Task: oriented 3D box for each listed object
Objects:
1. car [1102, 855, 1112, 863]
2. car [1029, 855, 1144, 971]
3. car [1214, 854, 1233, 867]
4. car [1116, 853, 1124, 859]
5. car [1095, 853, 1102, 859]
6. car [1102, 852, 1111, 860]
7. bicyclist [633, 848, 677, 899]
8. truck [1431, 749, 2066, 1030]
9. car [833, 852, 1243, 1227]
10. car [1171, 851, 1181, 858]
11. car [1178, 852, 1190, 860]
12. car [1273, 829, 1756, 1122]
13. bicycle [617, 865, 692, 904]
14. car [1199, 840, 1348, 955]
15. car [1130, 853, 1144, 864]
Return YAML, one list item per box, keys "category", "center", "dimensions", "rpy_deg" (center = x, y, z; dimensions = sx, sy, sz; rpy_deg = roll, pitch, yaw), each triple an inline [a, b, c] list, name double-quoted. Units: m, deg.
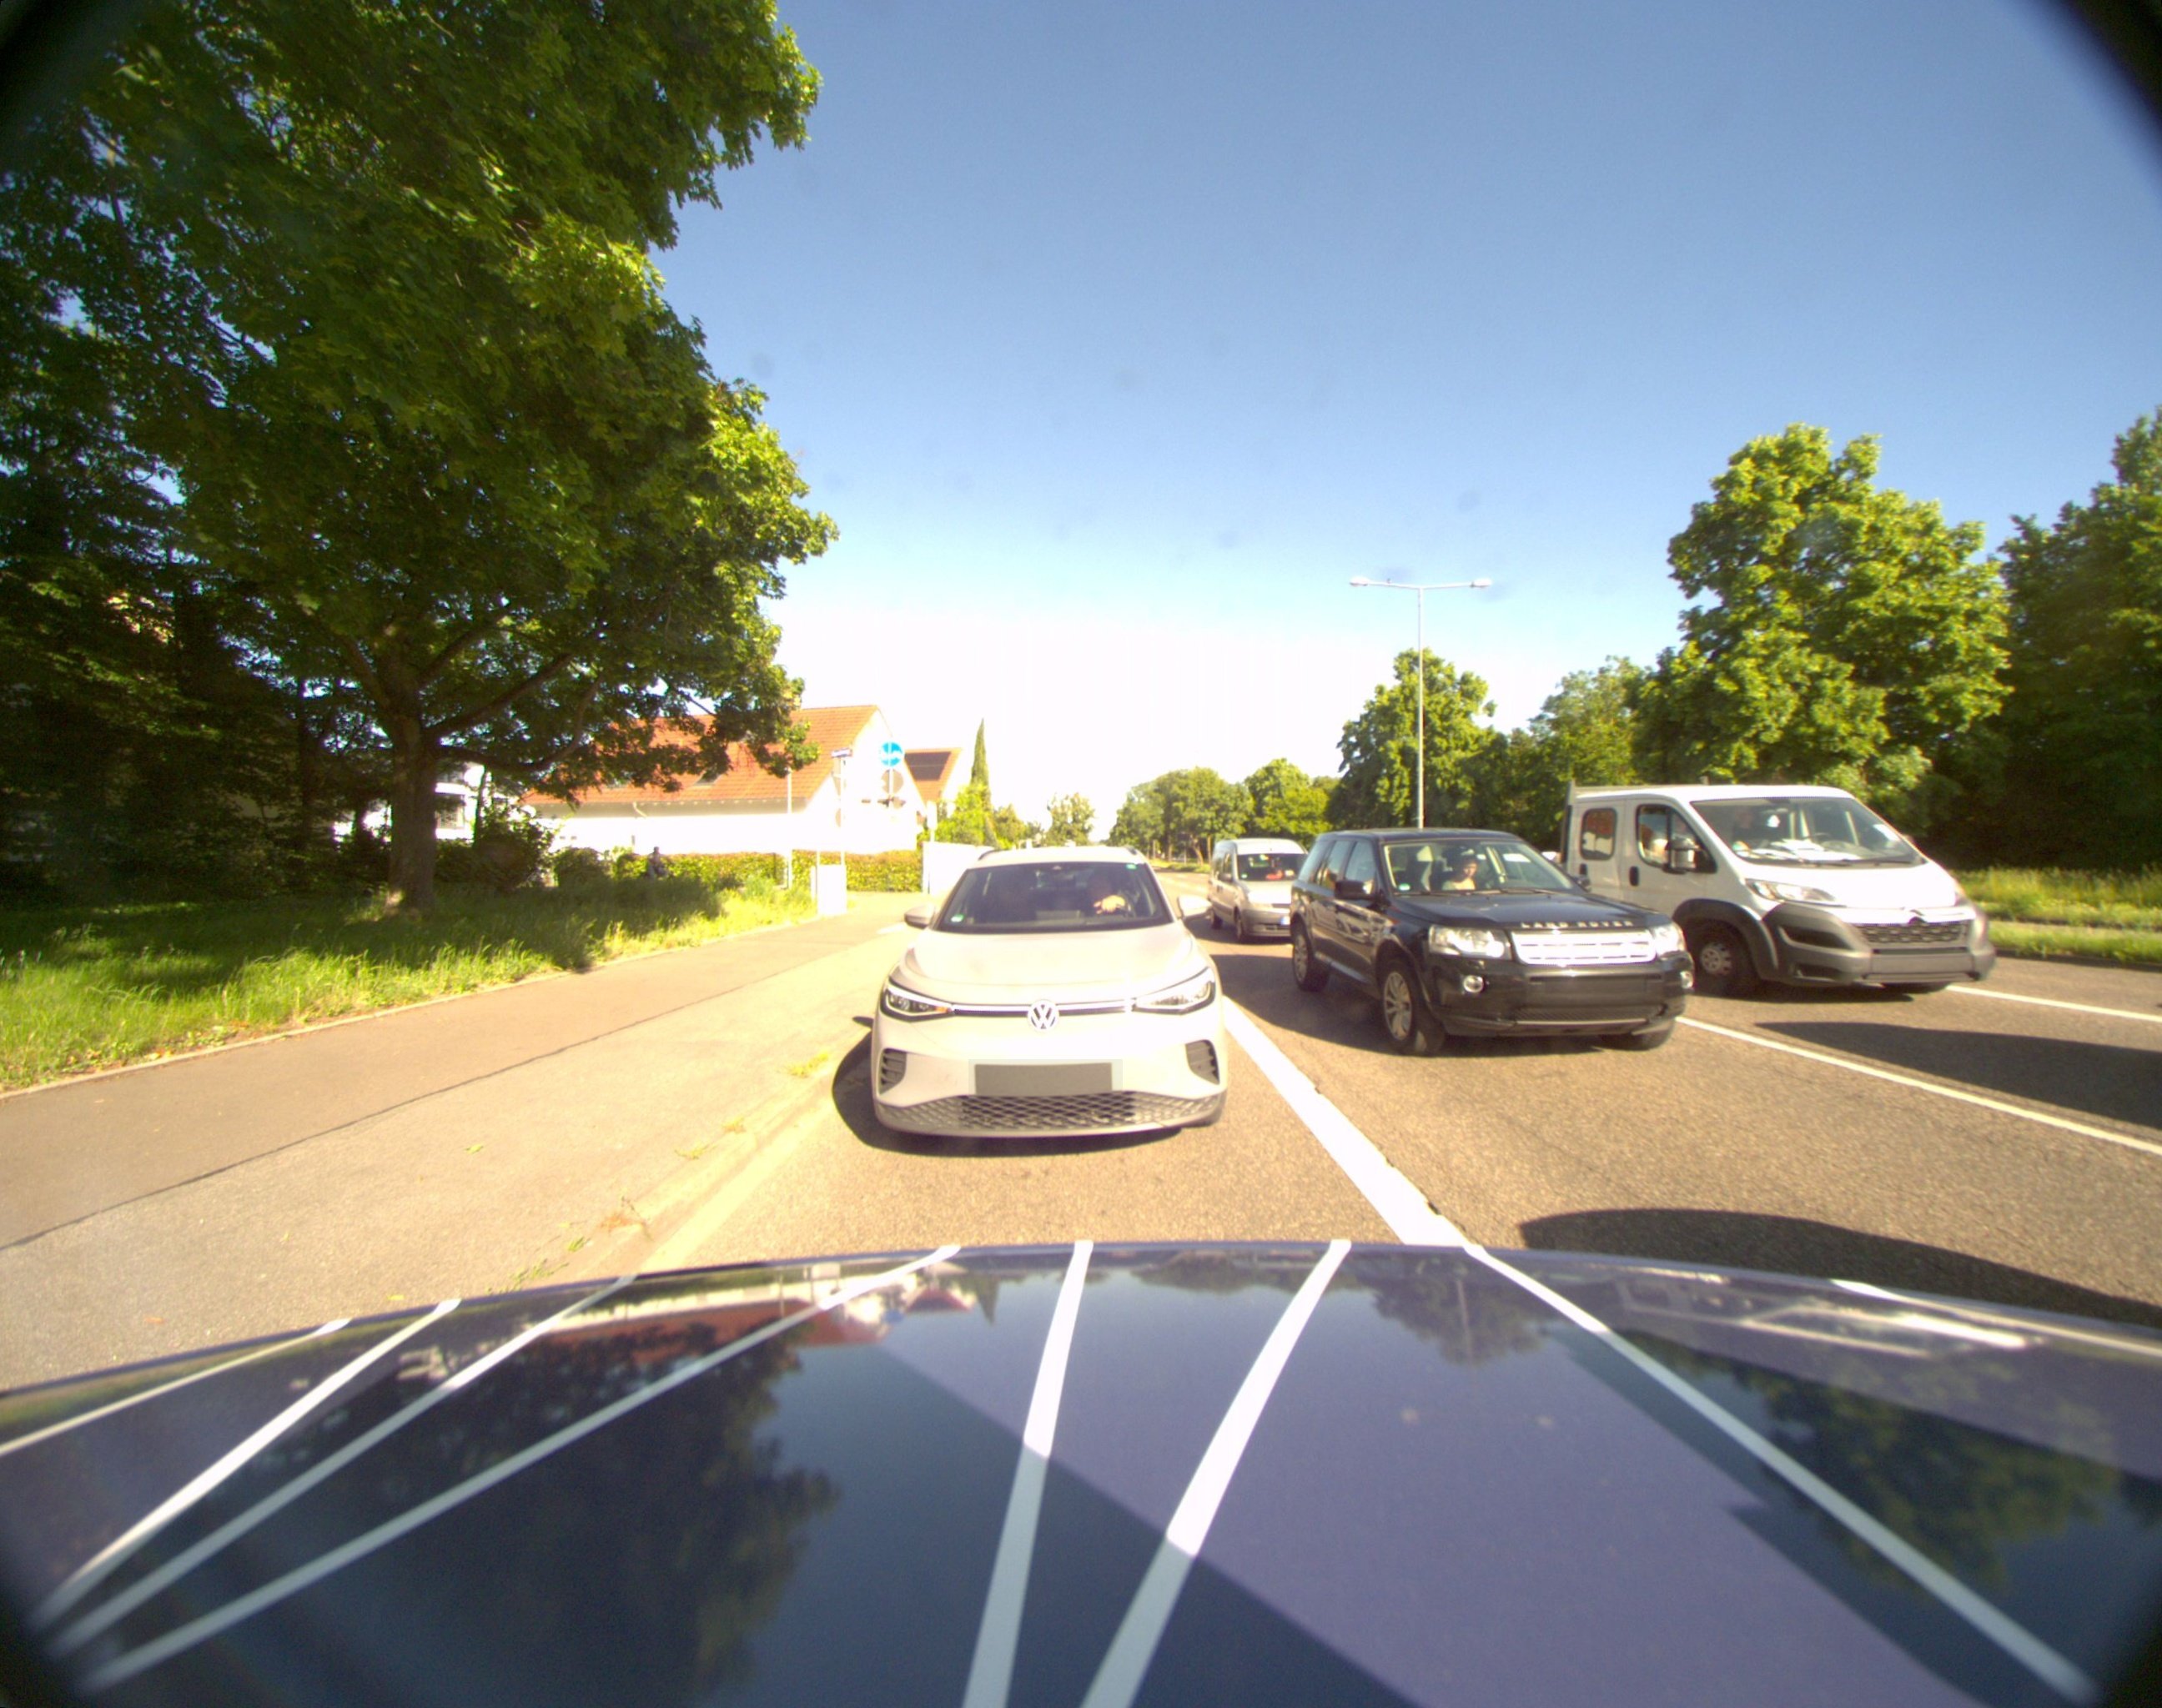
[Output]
- category: "car"
  center: [4.772, 0.917, 139.454]
  dimensions: [1.630, 1.466, 3.931]
  rpy_deg: [-1, 0, 0]
- category: "car"
  center: [0.109, 0.861, 13.005]
  dimensions: [1.632, 1.586, 4.024]
  rpy_deg: [-2, 1, 1]
- category: "car"
  center: [19.955, 0.896, 106.647]
  dimensions: [1.878, 1.674, 4.000]
  rpy_deg: [0, 0, 1]
- category: "car"
  center: [9.077, 0.496, 176.728]
  dimensions: [1.727, 1.436, 4.000]
  rpy_deg: [0, 0, 0]
- category: "car"
  center: [4.639, 0.562, 201.096]
  dimensions: [1.726, 1.630, 4.000]
  rpy_deg: [0, 0, 1]
- category: "car"
  center: [4.772, 0.381, 141.425]
  dimensions: [1.704, 1.466, 3.931]
  rpy_deg: [0, 0, 1]
- category: "bicyclist"
  center: [-13.780, 0.627, 24.606]
  dimensions: [0.997, 1.572, 0.580]
  rpy_deg: [4, 0, -4]
- category: "truck"
  center: [7.212, 0.264, 9.825]
  dimensions: [2.185, 2.307, 6.842]
  rpy_deg: [-2, 1, 0]
- category: "car"
  center: [-0.170, 0.845, 5.562]
  dimensions: [1.858, 1.679, 4.206]
  rpy_deg: [0, 1, 1]
- category: "car"
  center: [21.341, 0.118, 170.162]
  dimensions: [1.792, 1.409, 4.000]
  rpy_deg: [0, 0, 1]
- category: "car"
  center: [20.527, 0.358, 151.649]
  dimensions: [1.792, 1.674, 4.000]
  rpy_deg: [0, 0, 1]
- category: "car"
  center: [3.165, 0.711, 6.757]
  dimensions: [1.816, 1.721, 4.386]
  rpy_deg: [-2, 1, 1]
- category: "bicycle"
  center: [-13.802, 0.983, 24.604]
  dimensions: [1.987, 1.091, 0.580]
  rpy_deg: [4, 0, -4]
- category: "car"
  center: [3.325, 0.649, 13.952]
  dimensions: [1.632, 1.741, 4.386]
  rpy_deg: [-2, 1, 1]
- category: "car"
  center: [7.708, 0.575, 104.439]
  dimensions: [1.704, 1.466, 3.931]
  rpy_deg: [-1, 0, 0]
